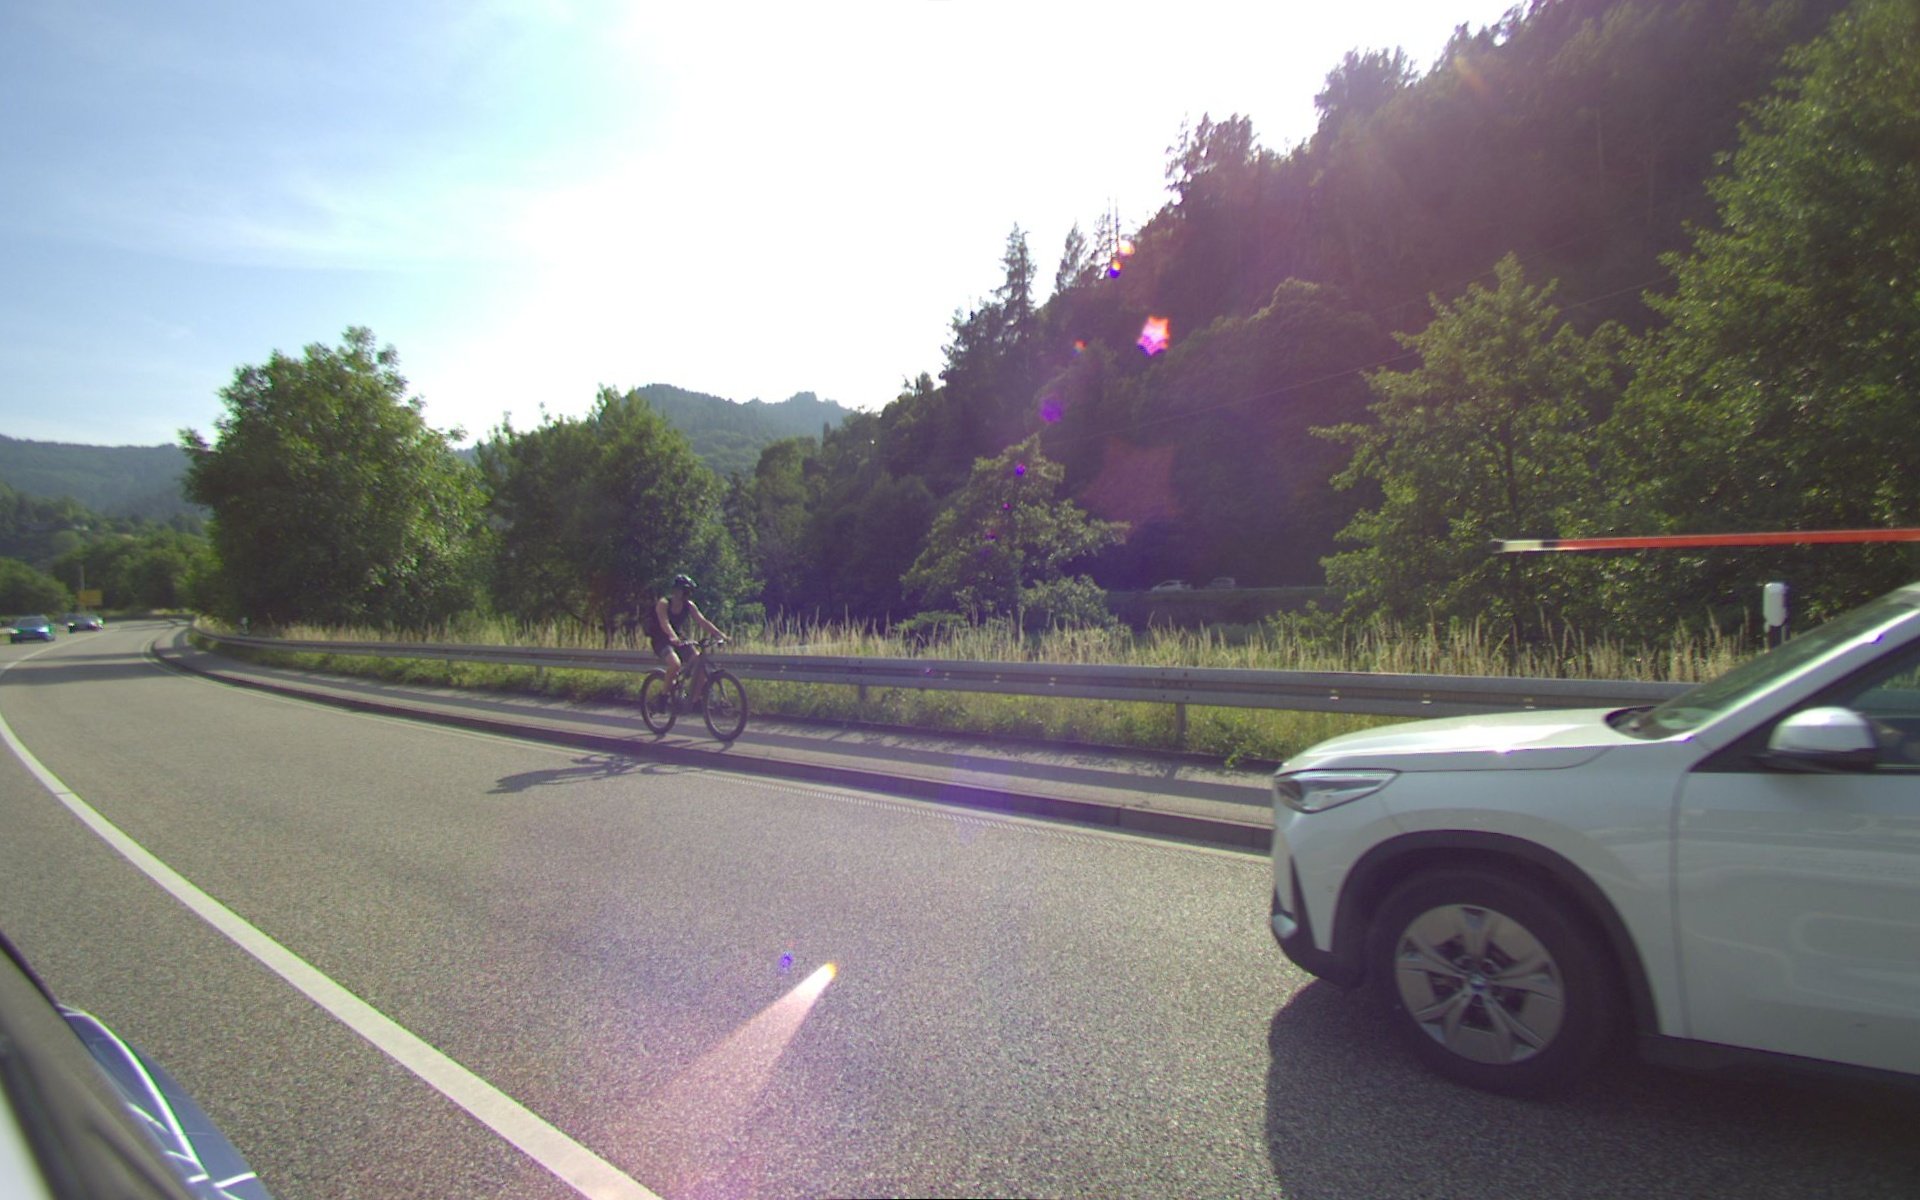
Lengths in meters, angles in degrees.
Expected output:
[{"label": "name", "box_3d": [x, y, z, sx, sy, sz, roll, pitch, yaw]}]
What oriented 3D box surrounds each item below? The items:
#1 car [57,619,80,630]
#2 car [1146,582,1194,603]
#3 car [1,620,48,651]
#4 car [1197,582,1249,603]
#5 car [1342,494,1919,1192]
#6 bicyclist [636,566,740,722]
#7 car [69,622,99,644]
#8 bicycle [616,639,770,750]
[{"label": "car", "box_3d": [-122.862, 3.420, 139.463, 3.990, 1.490, 1.564, -2, -1, 35]}, {"label": "car", "box_3d": [19.703, -0.669, 94.904, 1.848, 1.745, 4.005, -6, 4, -42]}, {"label": "car", "box_3d": [-55.849, 2.103, 60.474, 1.857, 1.758, 4.185, -1, -1, -40]}, {"label": "car", "box_3d": [23.495, -0.696, 90.496, 1.848, 1.678, 4.005, -6, 3, -42]}, {"label": "car", "box_3d": [3.396, 0.564, 2.748, 3.994, 1.642, 1.974, -2, -2, 38]}, {"label": "bicyclist", "box_3d": [-2.986, 0.467, 11.067, 0.551, 1.598, 1.036, -6, 2, -44]}, {"label": "car", "box_3d": [-73.448, 2.783, 84.886, 1.857, 1.758, 4.185, -1, -1, -40]}, {"label": "bicycle", "box_3d": [-2.974, 0.991, 11.105, 0.551, 1.053, 2.231, -6, 2, -43]}]
